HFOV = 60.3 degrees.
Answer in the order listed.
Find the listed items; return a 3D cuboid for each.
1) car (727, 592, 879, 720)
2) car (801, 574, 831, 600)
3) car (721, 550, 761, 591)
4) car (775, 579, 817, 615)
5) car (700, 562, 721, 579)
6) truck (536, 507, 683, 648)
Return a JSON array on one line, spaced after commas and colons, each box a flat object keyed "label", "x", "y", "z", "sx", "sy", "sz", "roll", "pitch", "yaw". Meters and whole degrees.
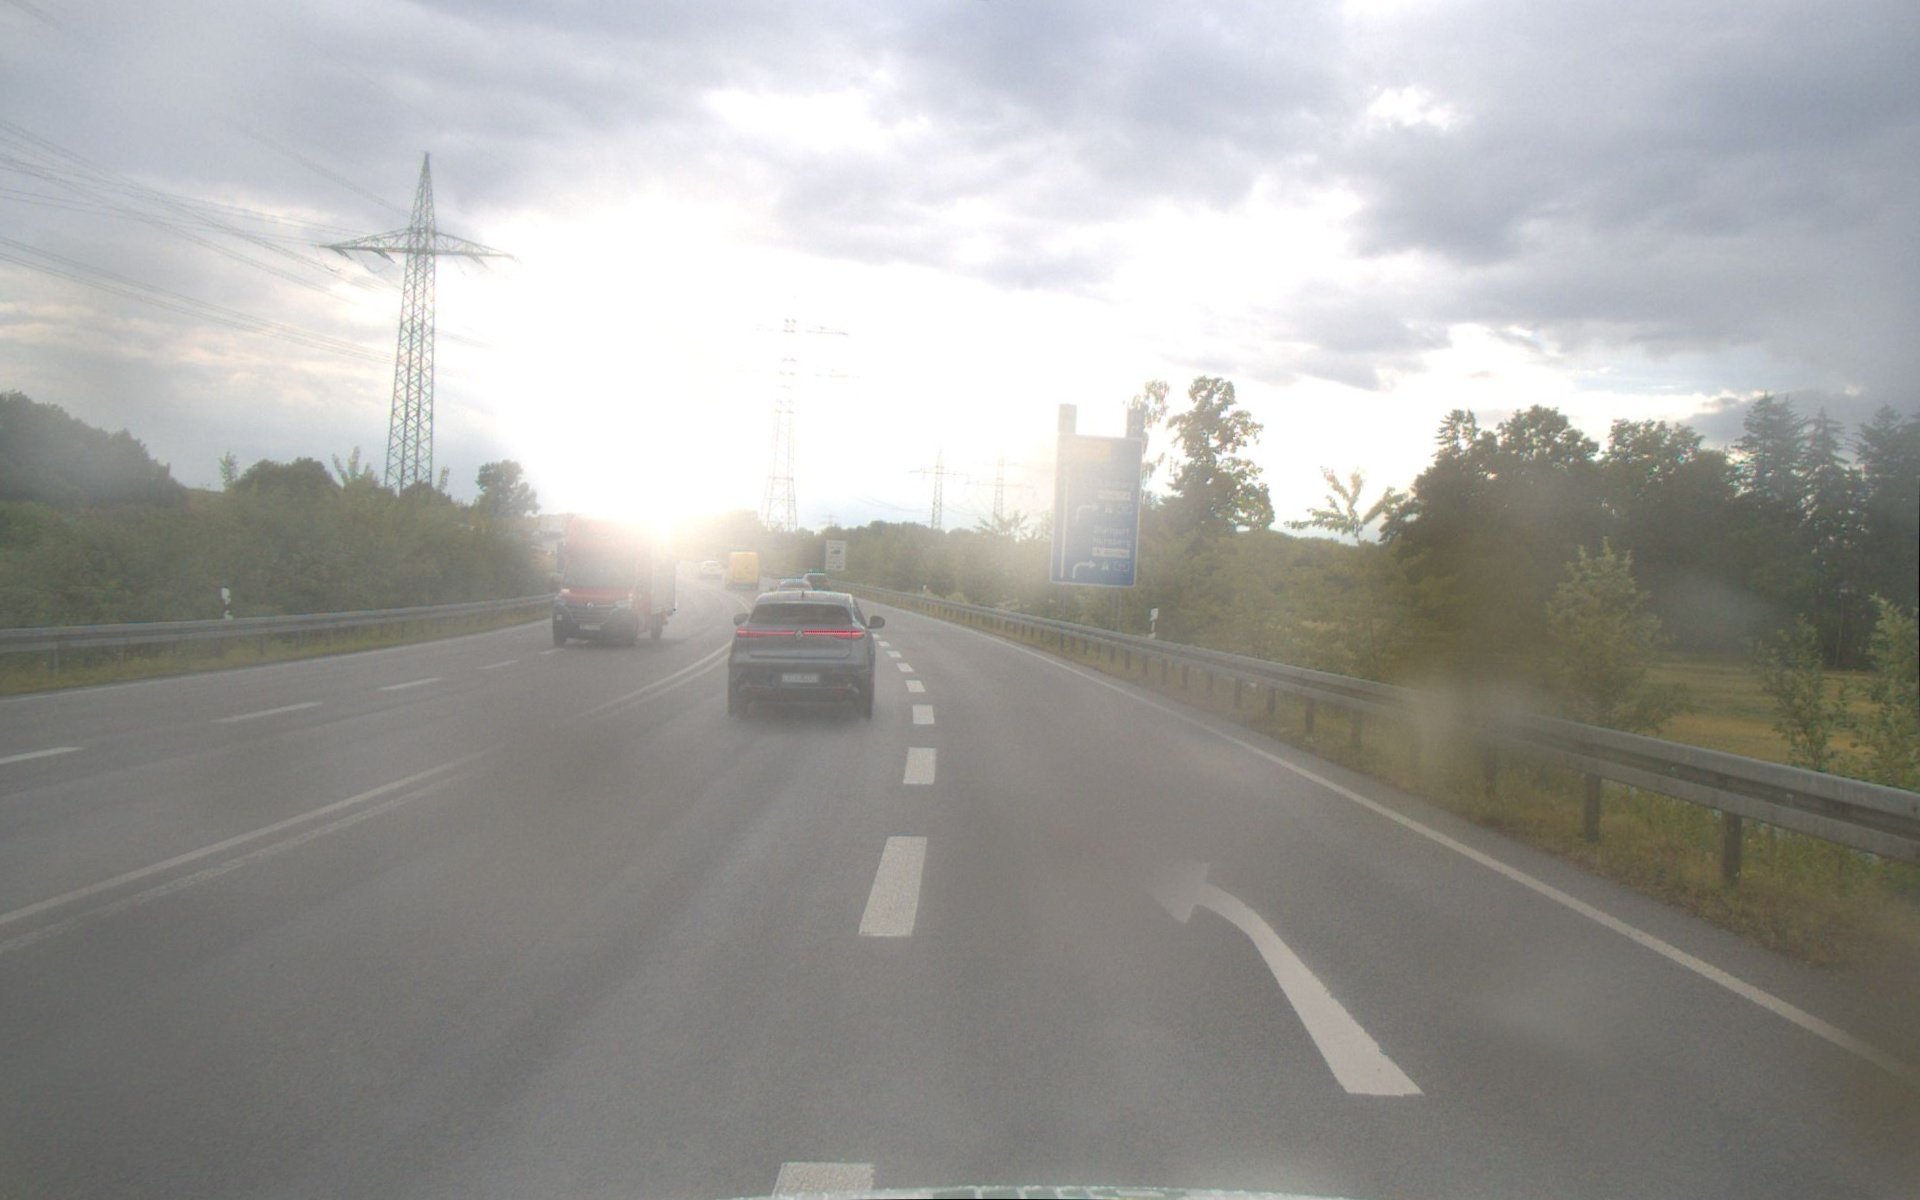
[{"label": "car", "x": -1.923, "y": 0.657, "z": 21.147, "sx": 1.756, "sy": 1.466, "sz": 3.997, "roll": 0, "pitch": 0, "yaw": -3}, {"label": "car", "x": -8.807, "y": -0.816, "z": 101.271, "sx": 1.757, "sy": 1.568, "sz": 3.995, "roll": 0, "pitch": 1, "yaw": -6}, {"label": "car", "x": -15.464, "y": -2.068, "z": 117.182, "sx": 2.523, "sy": 2.773, "sz": 7.187, "roll": -1, "pitch": 1, "yaw": -6}, {"label": "car", "x": -7.243, "y": -0.135, "z": 73.101, "sx": 1.757, "sy": 1.466, "sz": 3.996, "roll": 2, "pitch": 0, "yaw": -5}, {"label": "car", "x": -21.265, "y": -2.532, "z": 141.020, "sx": 1.758, "sy": 1.466, "sz": 3.993, "roll": 0, "pitch": 1, "yaw": -8}, {"label": "truck", "x": -8.956, "y": -0.587, "z": 43.069, "sx": 2.430, "sy": 3.349, "sz": 7.279, "roll": 0, "pitch": 1, "yaw": -1}]
